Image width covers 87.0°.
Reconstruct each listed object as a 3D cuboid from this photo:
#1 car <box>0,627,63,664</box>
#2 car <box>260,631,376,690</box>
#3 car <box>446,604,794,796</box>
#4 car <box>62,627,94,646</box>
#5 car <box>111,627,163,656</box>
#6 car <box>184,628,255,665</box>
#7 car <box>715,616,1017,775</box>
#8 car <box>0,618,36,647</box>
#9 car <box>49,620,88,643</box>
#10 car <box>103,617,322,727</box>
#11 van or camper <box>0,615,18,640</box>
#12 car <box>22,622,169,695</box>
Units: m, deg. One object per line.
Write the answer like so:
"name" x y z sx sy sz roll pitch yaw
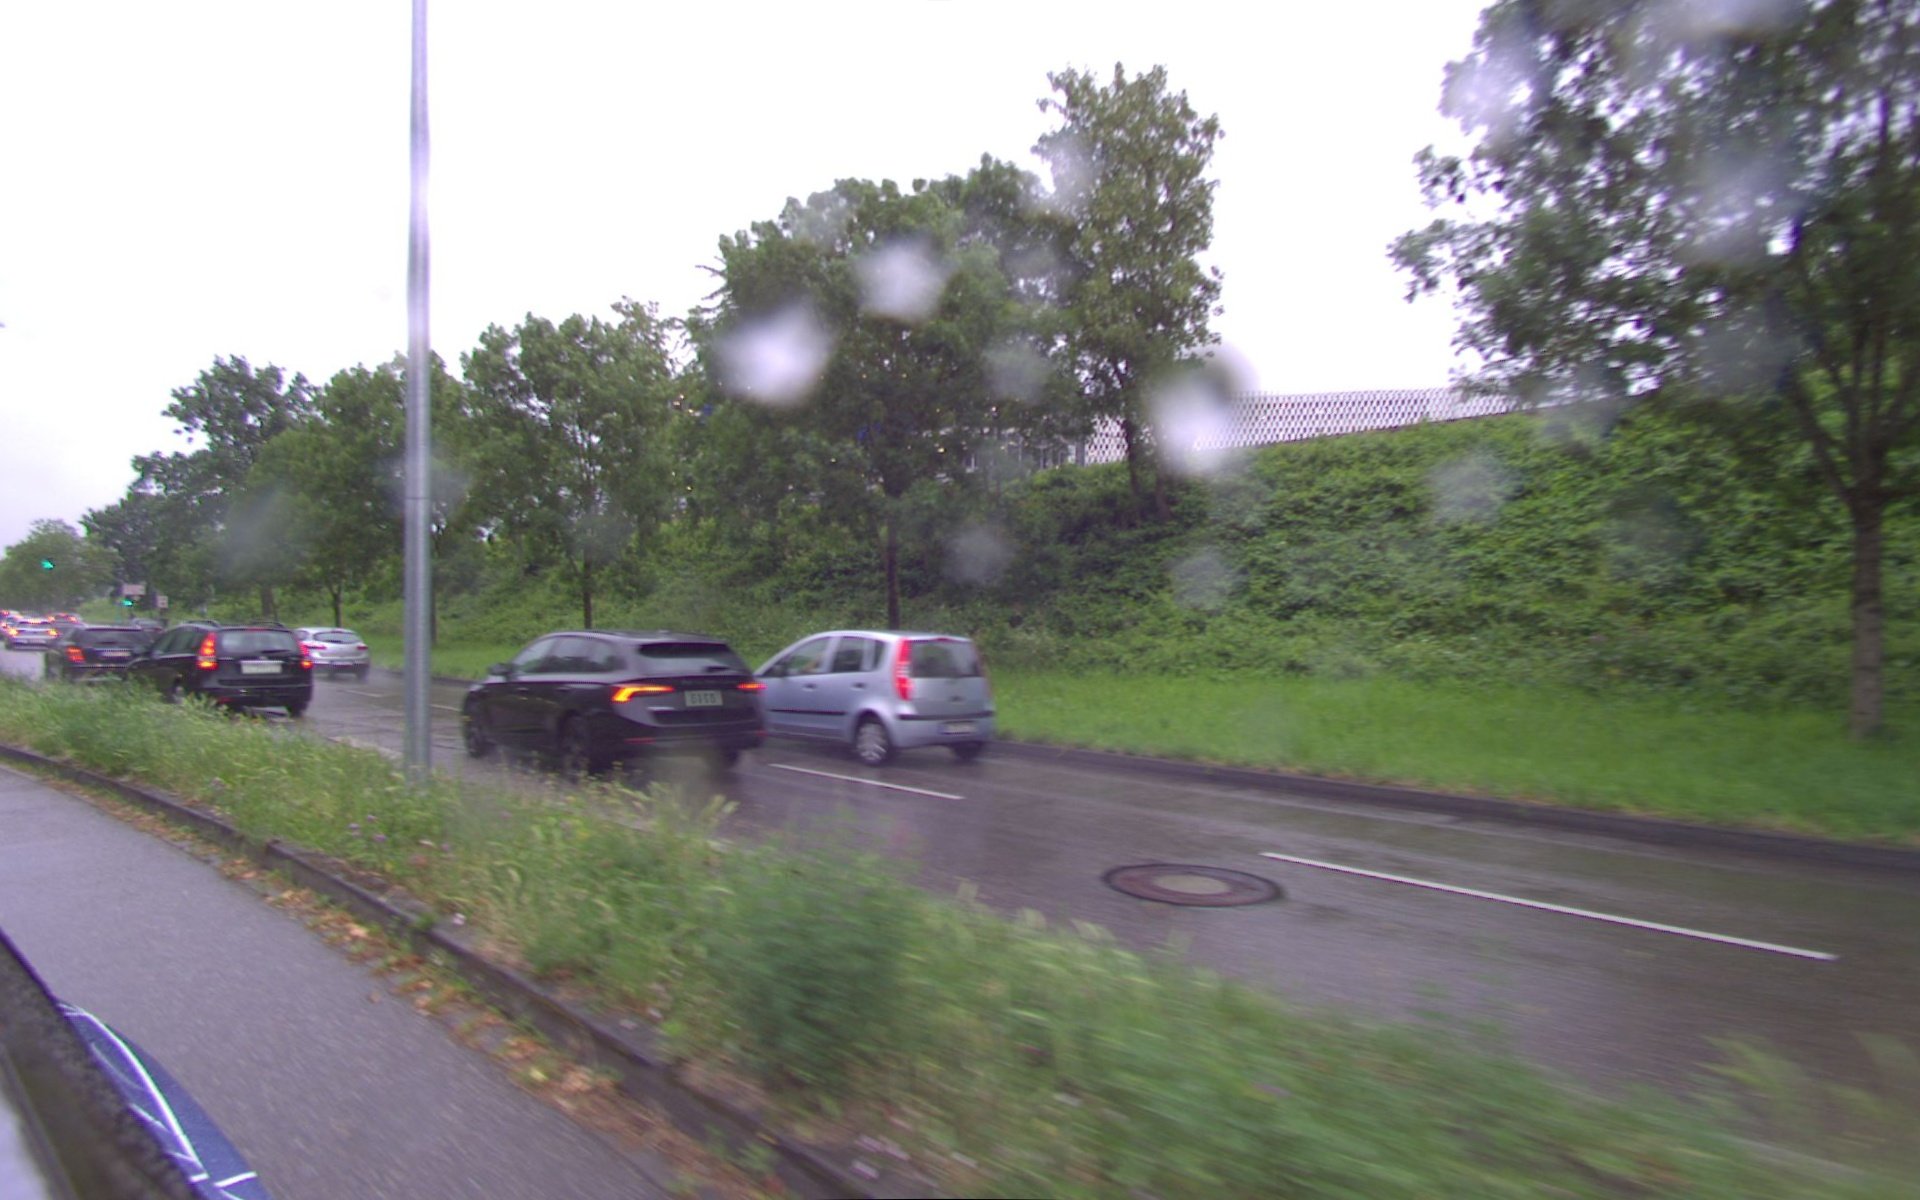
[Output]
"car" -42.547 2.064 46.162 4.707 1.586 1.888 -1 -4 42
"car" -18.949 1.742 29.790 1.886 1.586 4.712 5 -5 -44
"car" -3.760 0.913 10.744 4.348 1.630 1.701 -1 -3 45
"car" -82.981 3.448 95.189 1.970 1.700 4.712 4 -4 -44
"car" -50.304 2.504 61.812 1.970 1.700 4.712 3 -3 -44
"car" -32.079 1.973 43.809 1.814 1.513 4.443 3 -3 -44
"car" -1.277 1.023 12.423 1.676 1.630 3.850 1 -1 -44
"car" -55.529 1.873 59.018 4.109 1.625 1.879 -1 -4 41
"car" -67.864 2.382 77.018 1.970 1.700 4.712 4 -4 -44
"car" -12.538 1.127 16.883 4.354 1.587 1.806 -1 -4 38
"van or camper" -71.114 2.021 74.961 4.001 1.755 1.709 -1 -4 44
"car" -20.962 1.362 24.480 4.704 1.586 1.889 -1 -3 40
